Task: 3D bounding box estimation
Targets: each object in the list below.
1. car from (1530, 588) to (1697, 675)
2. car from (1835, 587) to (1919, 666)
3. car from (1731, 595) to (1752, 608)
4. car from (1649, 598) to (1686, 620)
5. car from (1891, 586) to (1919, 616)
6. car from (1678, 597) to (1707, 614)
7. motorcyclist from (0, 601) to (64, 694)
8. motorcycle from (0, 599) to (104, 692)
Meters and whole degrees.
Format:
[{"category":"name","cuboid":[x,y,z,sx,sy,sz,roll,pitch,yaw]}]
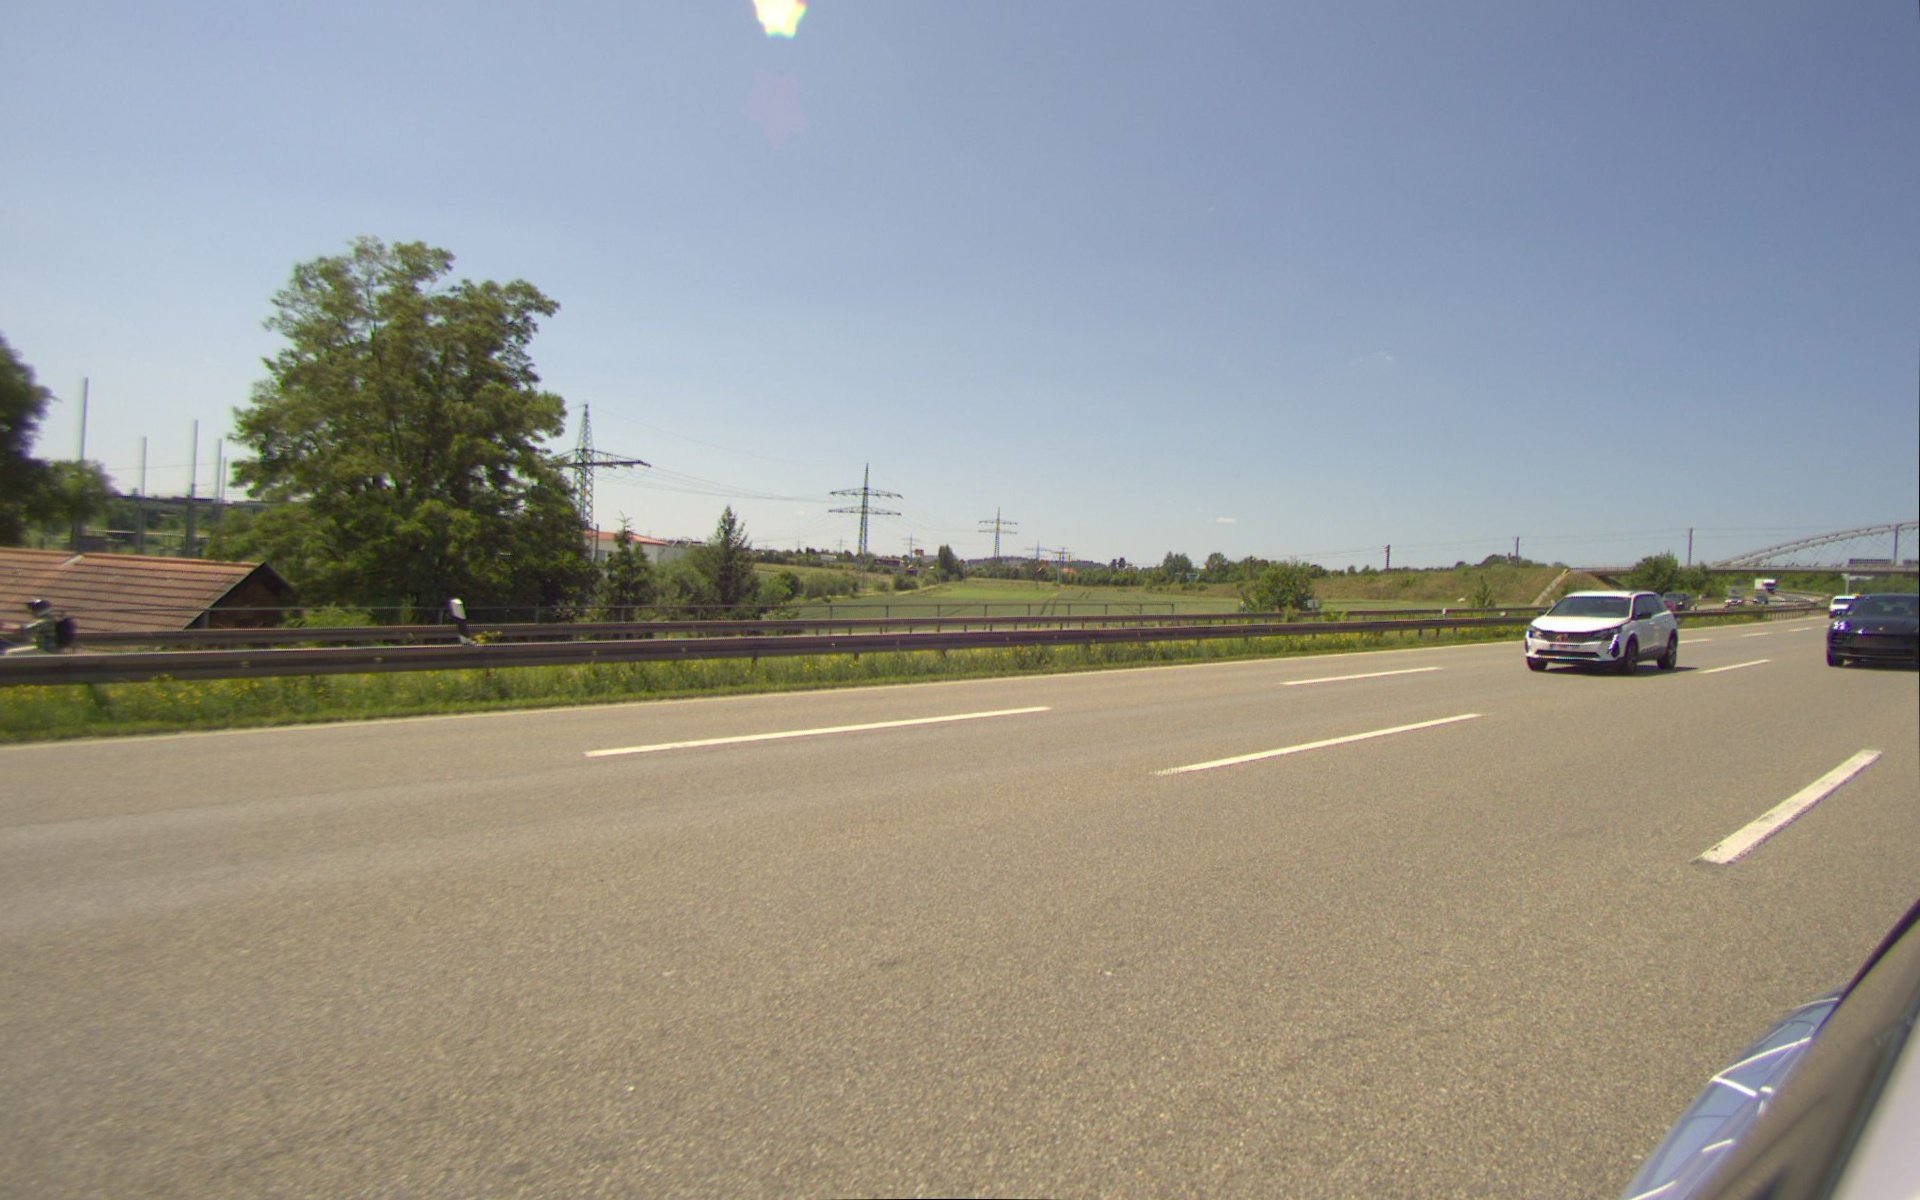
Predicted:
[{"category":"car","cuboid":[13.563,0.563,20.888,4.540,1.611,1.746,0,1,-42]},{"category":"car","cuboid":[20.939,0.533,22.324,4.059,1.615,1.930,0,1,-41]},{"category":"car","cuboid":[100.202,0.200,129.685,1.700,1.594,4.062,1,1,44]},{"category":"car","cuboid":[55.940,0.698,79.978,4.061,1.594,1.700,0,1,-45]},{"category":"car","cuboid":[63.402,0.049,67.378,4.223,1.943,1.805,0,1,-44]},{"category":"car","cuboid":[71.514,0.505,98.794,4.061,1.594,1.700,0,1,-45]},{"category":"motorcyclist","cuboid":[-14.382,0.711,15.586,0.864,1.383,0.669,0,0,-43]},{"category":"motorcycle","cuboid":[-14.396,0.680,15.572,1.838,1.383,0.761,0,1,-43]}]
